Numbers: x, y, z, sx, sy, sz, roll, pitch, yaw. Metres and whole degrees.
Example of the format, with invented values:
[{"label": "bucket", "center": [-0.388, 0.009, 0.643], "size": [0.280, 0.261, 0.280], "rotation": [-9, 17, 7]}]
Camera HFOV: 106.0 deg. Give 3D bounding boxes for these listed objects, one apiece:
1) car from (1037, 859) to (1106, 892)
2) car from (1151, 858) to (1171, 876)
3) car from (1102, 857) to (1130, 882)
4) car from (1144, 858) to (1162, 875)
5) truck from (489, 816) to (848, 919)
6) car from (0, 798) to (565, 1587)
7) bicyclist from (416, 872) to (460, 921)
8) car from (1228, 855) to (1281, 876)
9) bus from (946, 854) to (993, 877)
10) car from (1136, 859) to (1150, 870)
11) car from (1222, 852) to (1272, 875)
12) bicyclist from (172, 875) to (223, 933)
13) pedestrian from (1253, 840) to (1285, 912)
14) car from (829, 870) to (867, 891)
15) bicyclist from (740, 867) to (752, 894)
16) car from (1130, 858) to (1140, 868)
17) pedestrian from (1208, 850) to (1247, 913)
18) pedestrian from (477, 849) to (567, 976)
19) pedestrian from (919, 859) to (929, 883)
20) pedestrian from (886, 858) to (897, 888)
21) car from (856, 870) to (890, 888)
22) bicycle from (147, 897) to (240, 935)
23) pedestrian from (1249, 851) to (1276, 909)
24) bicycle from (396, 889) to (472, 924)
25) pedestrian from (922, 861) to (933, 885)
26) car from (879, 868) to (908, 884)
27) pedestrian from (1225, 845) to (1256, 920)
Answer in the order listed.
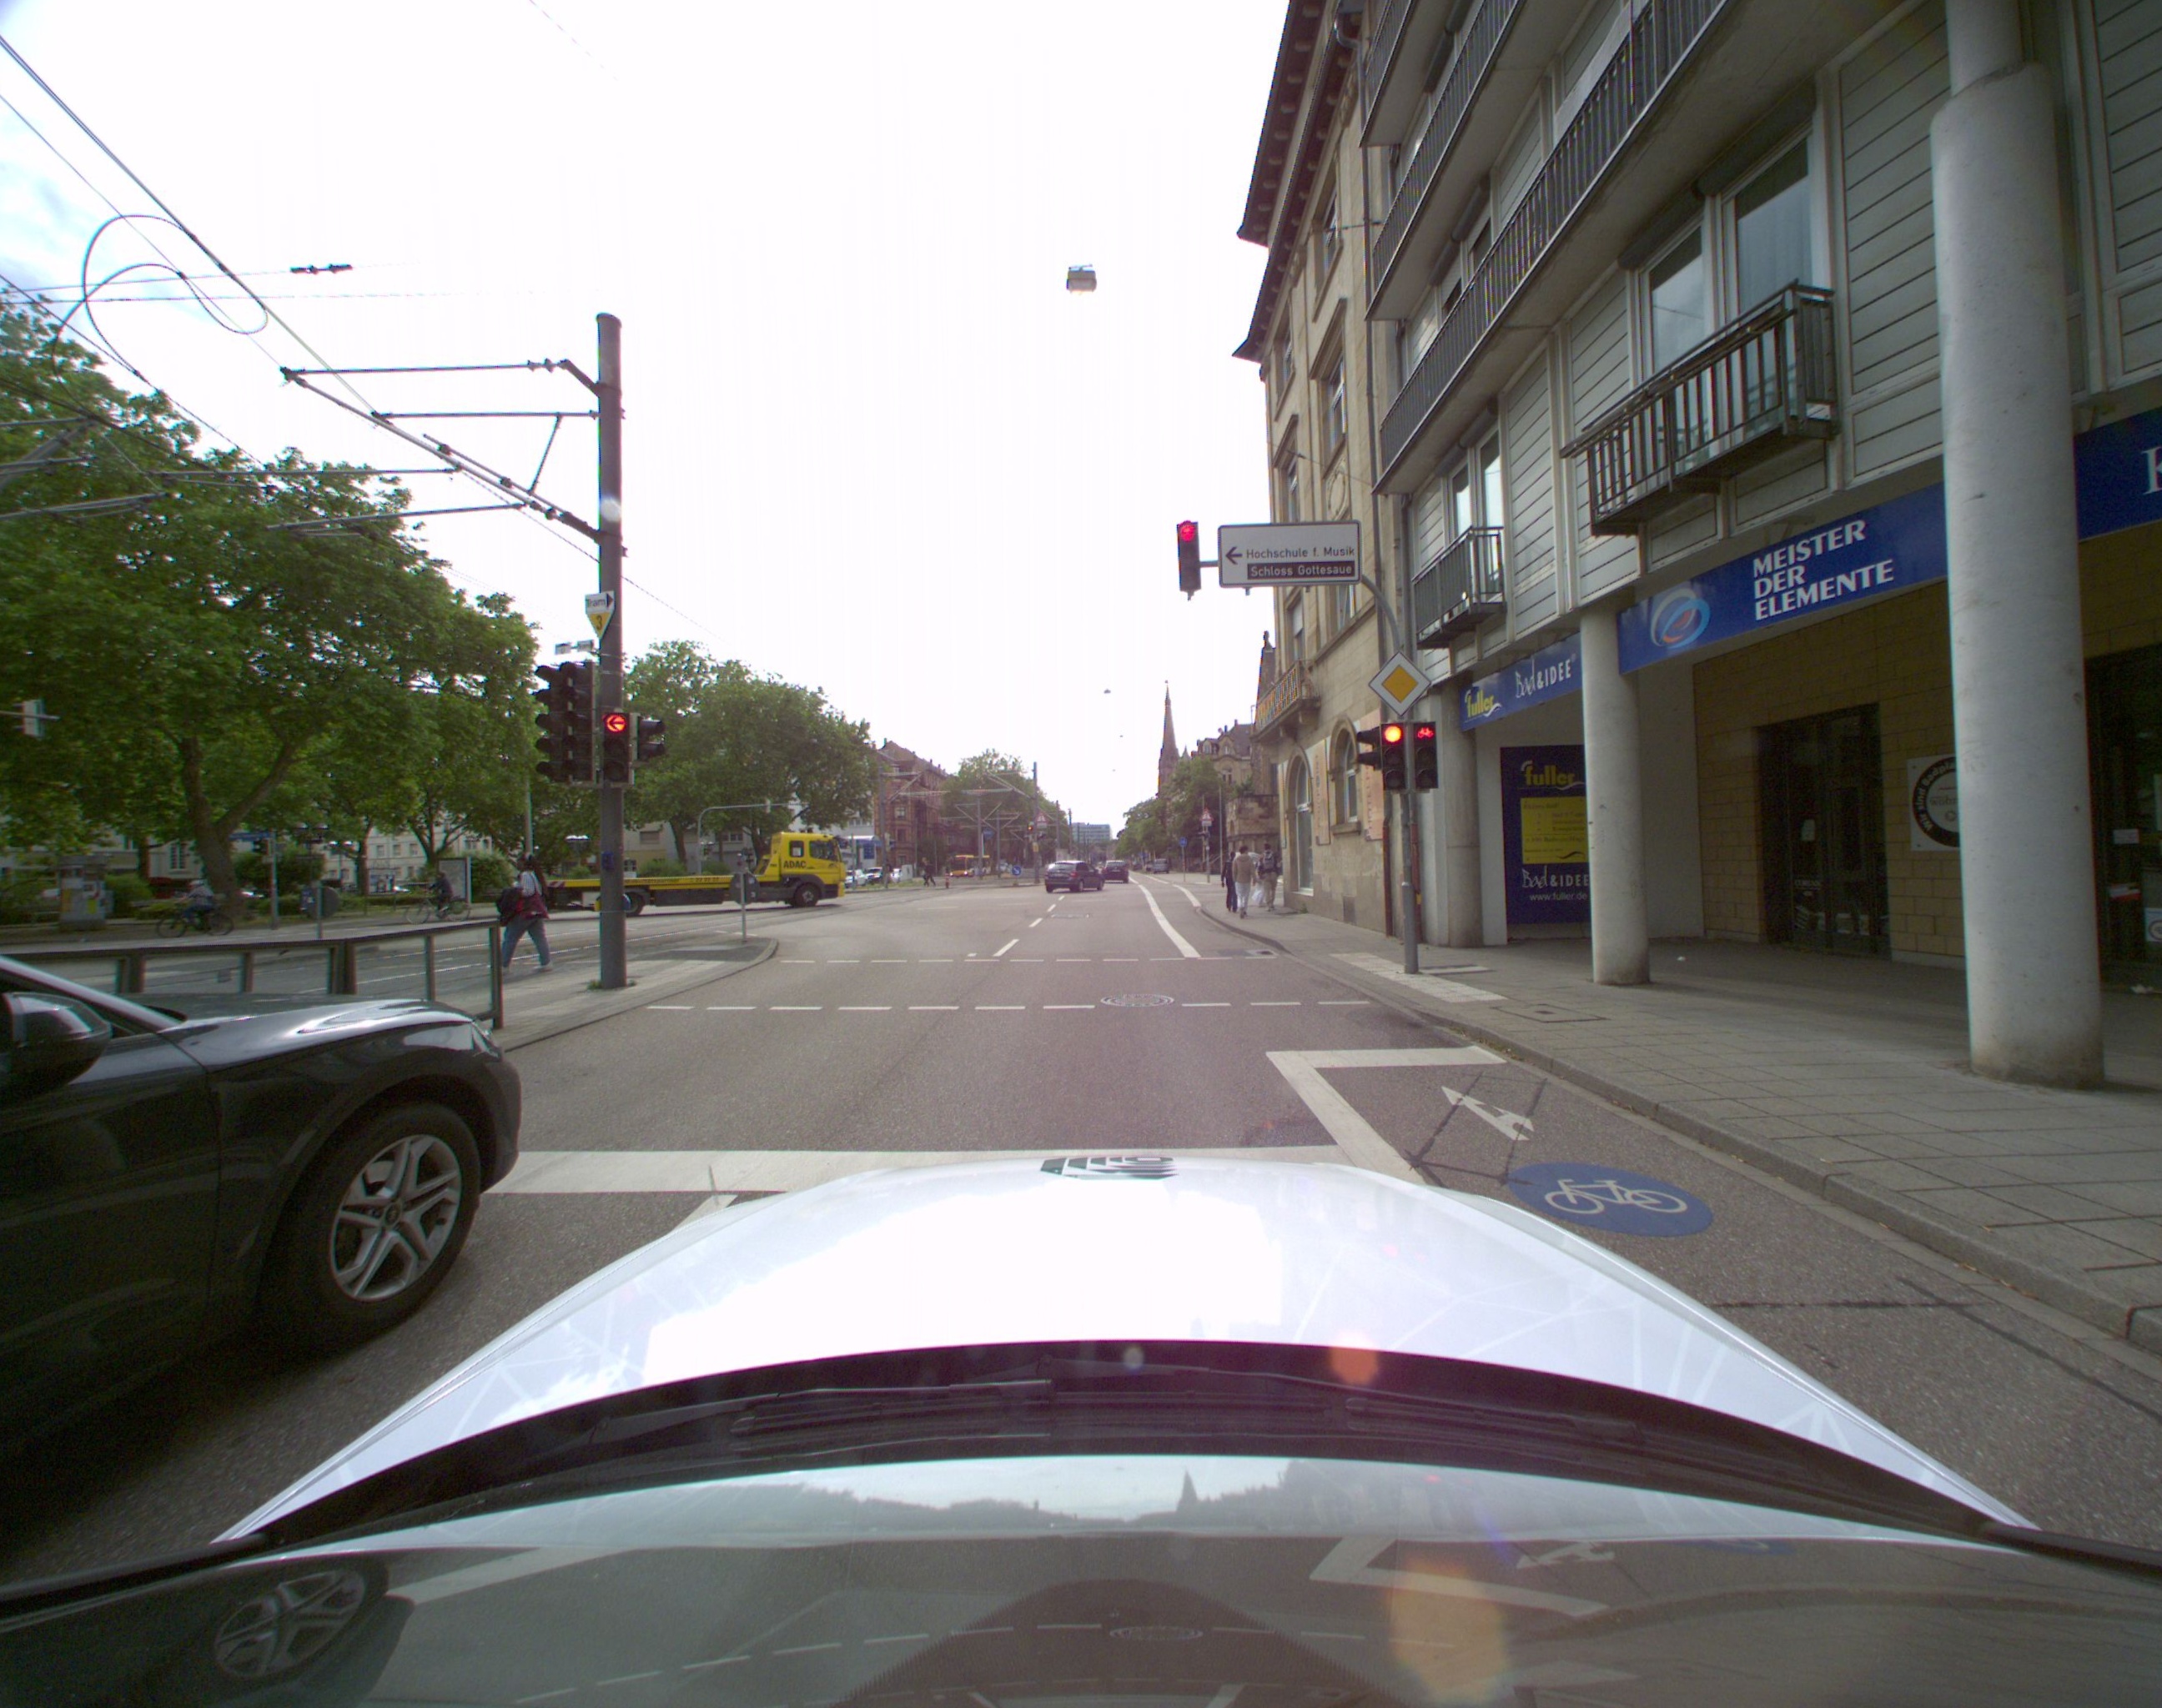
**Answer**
[{"label": "car", "center": [-0.384, 0.986, 38.323], "size": [1.819, 1.469, 4.014], "rotation": [-1, -1, 22]}, {"label": "car", "center": [8.805, 1.431, 90.076], "size": [1.986, 2.014, 4.001], "rotation": [0, -1, 1]}, {"label": "car", "center": [2.299, 1.027, 54.095], "size": [1.799, 1.586, 4.342], "rotation": [0, -1, 2]}, {"label": "car", "center": [8.821, 1.547, 99.631], "size": [1.986, 2.014, 4.001], "rotation": [0, -1, 1]}, {"label": "truck", "center": [-13.216, 0.366, 27.059], "size": [10.213, 2.941, 2.611], "rotation": [0, -1, -31]}, {"label": "car", "center": [-3.147, 0.696, 1.237], "size": [1.873, 1.601, 4.358], "rotation": [-1, -1, 1]}, {"label": "bicyclist", "center": [-22.588, 1.472, 28.614], "size": [1.041, 1.683, 0.641], "rotation": [0, -1, -19]}, {"label": "car", "center": [13.747, 0.893, 64.733], "size": [3.785, 1.601, 2.001], "rotation": [0, -1, 1]}, {"label": "bus", "center": [-15.939, 1.685, 117.552], "size": [3.066, 3.112, 13.126], "rotation": [0, -1, 9]}, {"label": "car", "center": [9.711, 1.673, 128.443], "size": [1.986, 1.607, 4.165], "rotation": [-3, -1, 1]}, {"label": "car", "center": [13.857, 0.779, 68.145], "size": [3.785, 1.904, 2.001], "rotation": [0, -1, 1]}, {"label": "bicyclist", "center": [-28.636, 1.603, 26.398], "size": [0.970, 1.819, 0.527], "rotation": [0, -1, -27]}, {"label": "pedestrian", "center": [4.920, 0.572, 21.373], "size": [0.622, 1.778, 1.137], "rotation": [-4, -2, 9]}, {"label": "car", "center": [-18.821, 2.126, 65.937], "size": [1.887, 1.557, 3.837], "rotation": [0, -1, 2]}, {"label": "bicyclist", "center": [-22.709, 1.796, 55.237], "size": [0.528, 1.784, 0.472], "rotation": [-1, -1, 21]}, {"label": "car", "center": [11.473, 1.876, 172.024], "size": [1.986, 2.014, 4.001], "rotation": [0, -1, 2]}, {"label": "pedestrian", "center": [3.953, 0.733, 21.914], "size": [0.620, 1.653, 1.003], "rotation": [-1, -1, 39]}, {"label": "pedestrian", "center": [-7.740, 0.774, 11.288], "size": [0.663, 1.680, 0.874], "rotation": [-1, -1, 40]}, {"label": "pedestrian", "center": [-10.115, 1.112, 52.540], "size": [0.544, 1.537, 0.465], "rotation": [0, -1, -3]}, {"label": "pedestrian", "center": [-11.557, 1.158, 49.678], "size": [0.571, 1.794, 0.518], "rotation": [0, -1, -3]}, {"label": "car", "center": [-18.582, 2.210, 72.914], "size": [1.887, 1.557, 3.837], "rotation": [0, -1, 2]}, {"label": "bicycle", "center": [-28.708, 1.991, 26.375], "size": [1.910, 1.142, 0.623], "rotation": [0, -1, -28]}, {"label": "pedestrian", "center": [5.092, 0.732, 22.907], "size": [0.696, 1.593, 0.833], "rotation": [0, -1, 10]}, {"label": "bicycle", "center": [-22.659, 1.826, 28.570], "size": [1.943, 1.136, 0.731], "rotation": [0, -1, -19]}, {"label": "pedestrian", "center": [-9.798, 1.200, 51.950], "size": [0.651, 1.537, 0.465], "rotation": [0, -1, -3]}, {"label": "car", "center": [-18.325, 2.124, 79.747], "size": [1.887, 1.557, 3.837], "rotation": [0, -1, 2]}, {"label": "pedestrian", "center": [3.962, 0.687, 20.238], "size": [0.578, 1.813, 1.020], "rotation": [0, -1, 21]}]
